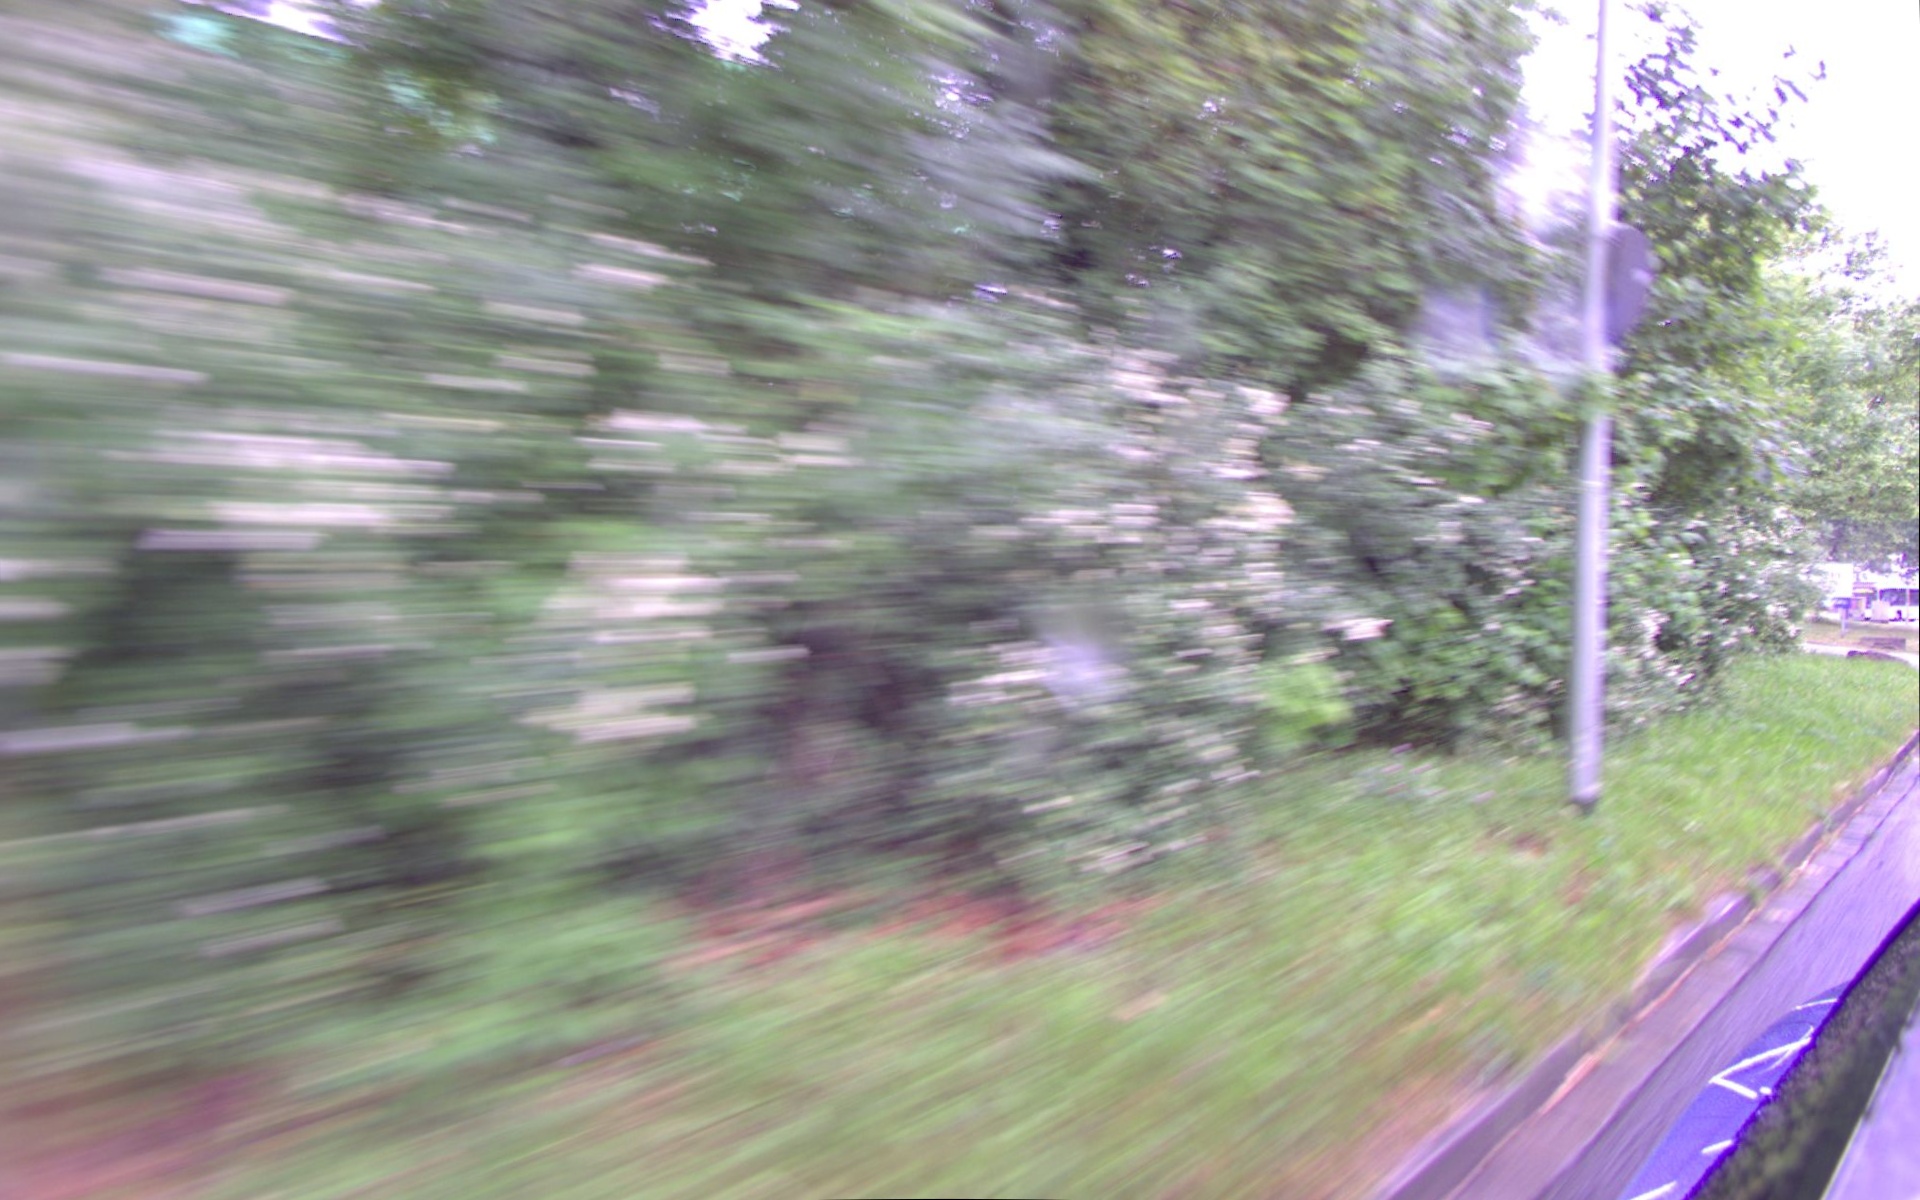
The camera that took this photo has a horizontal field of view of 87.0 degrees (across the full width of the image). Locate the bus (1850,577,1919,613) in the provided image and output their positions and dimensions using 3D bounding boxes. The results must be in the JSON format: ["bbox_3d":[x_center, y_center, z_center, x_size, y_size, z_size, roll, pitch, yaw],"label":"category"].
[{"bbox_3d":[76.695,-0.435,81.191,10.167,2.821,2.905,-1,0,-17],"label":"bus"}]
